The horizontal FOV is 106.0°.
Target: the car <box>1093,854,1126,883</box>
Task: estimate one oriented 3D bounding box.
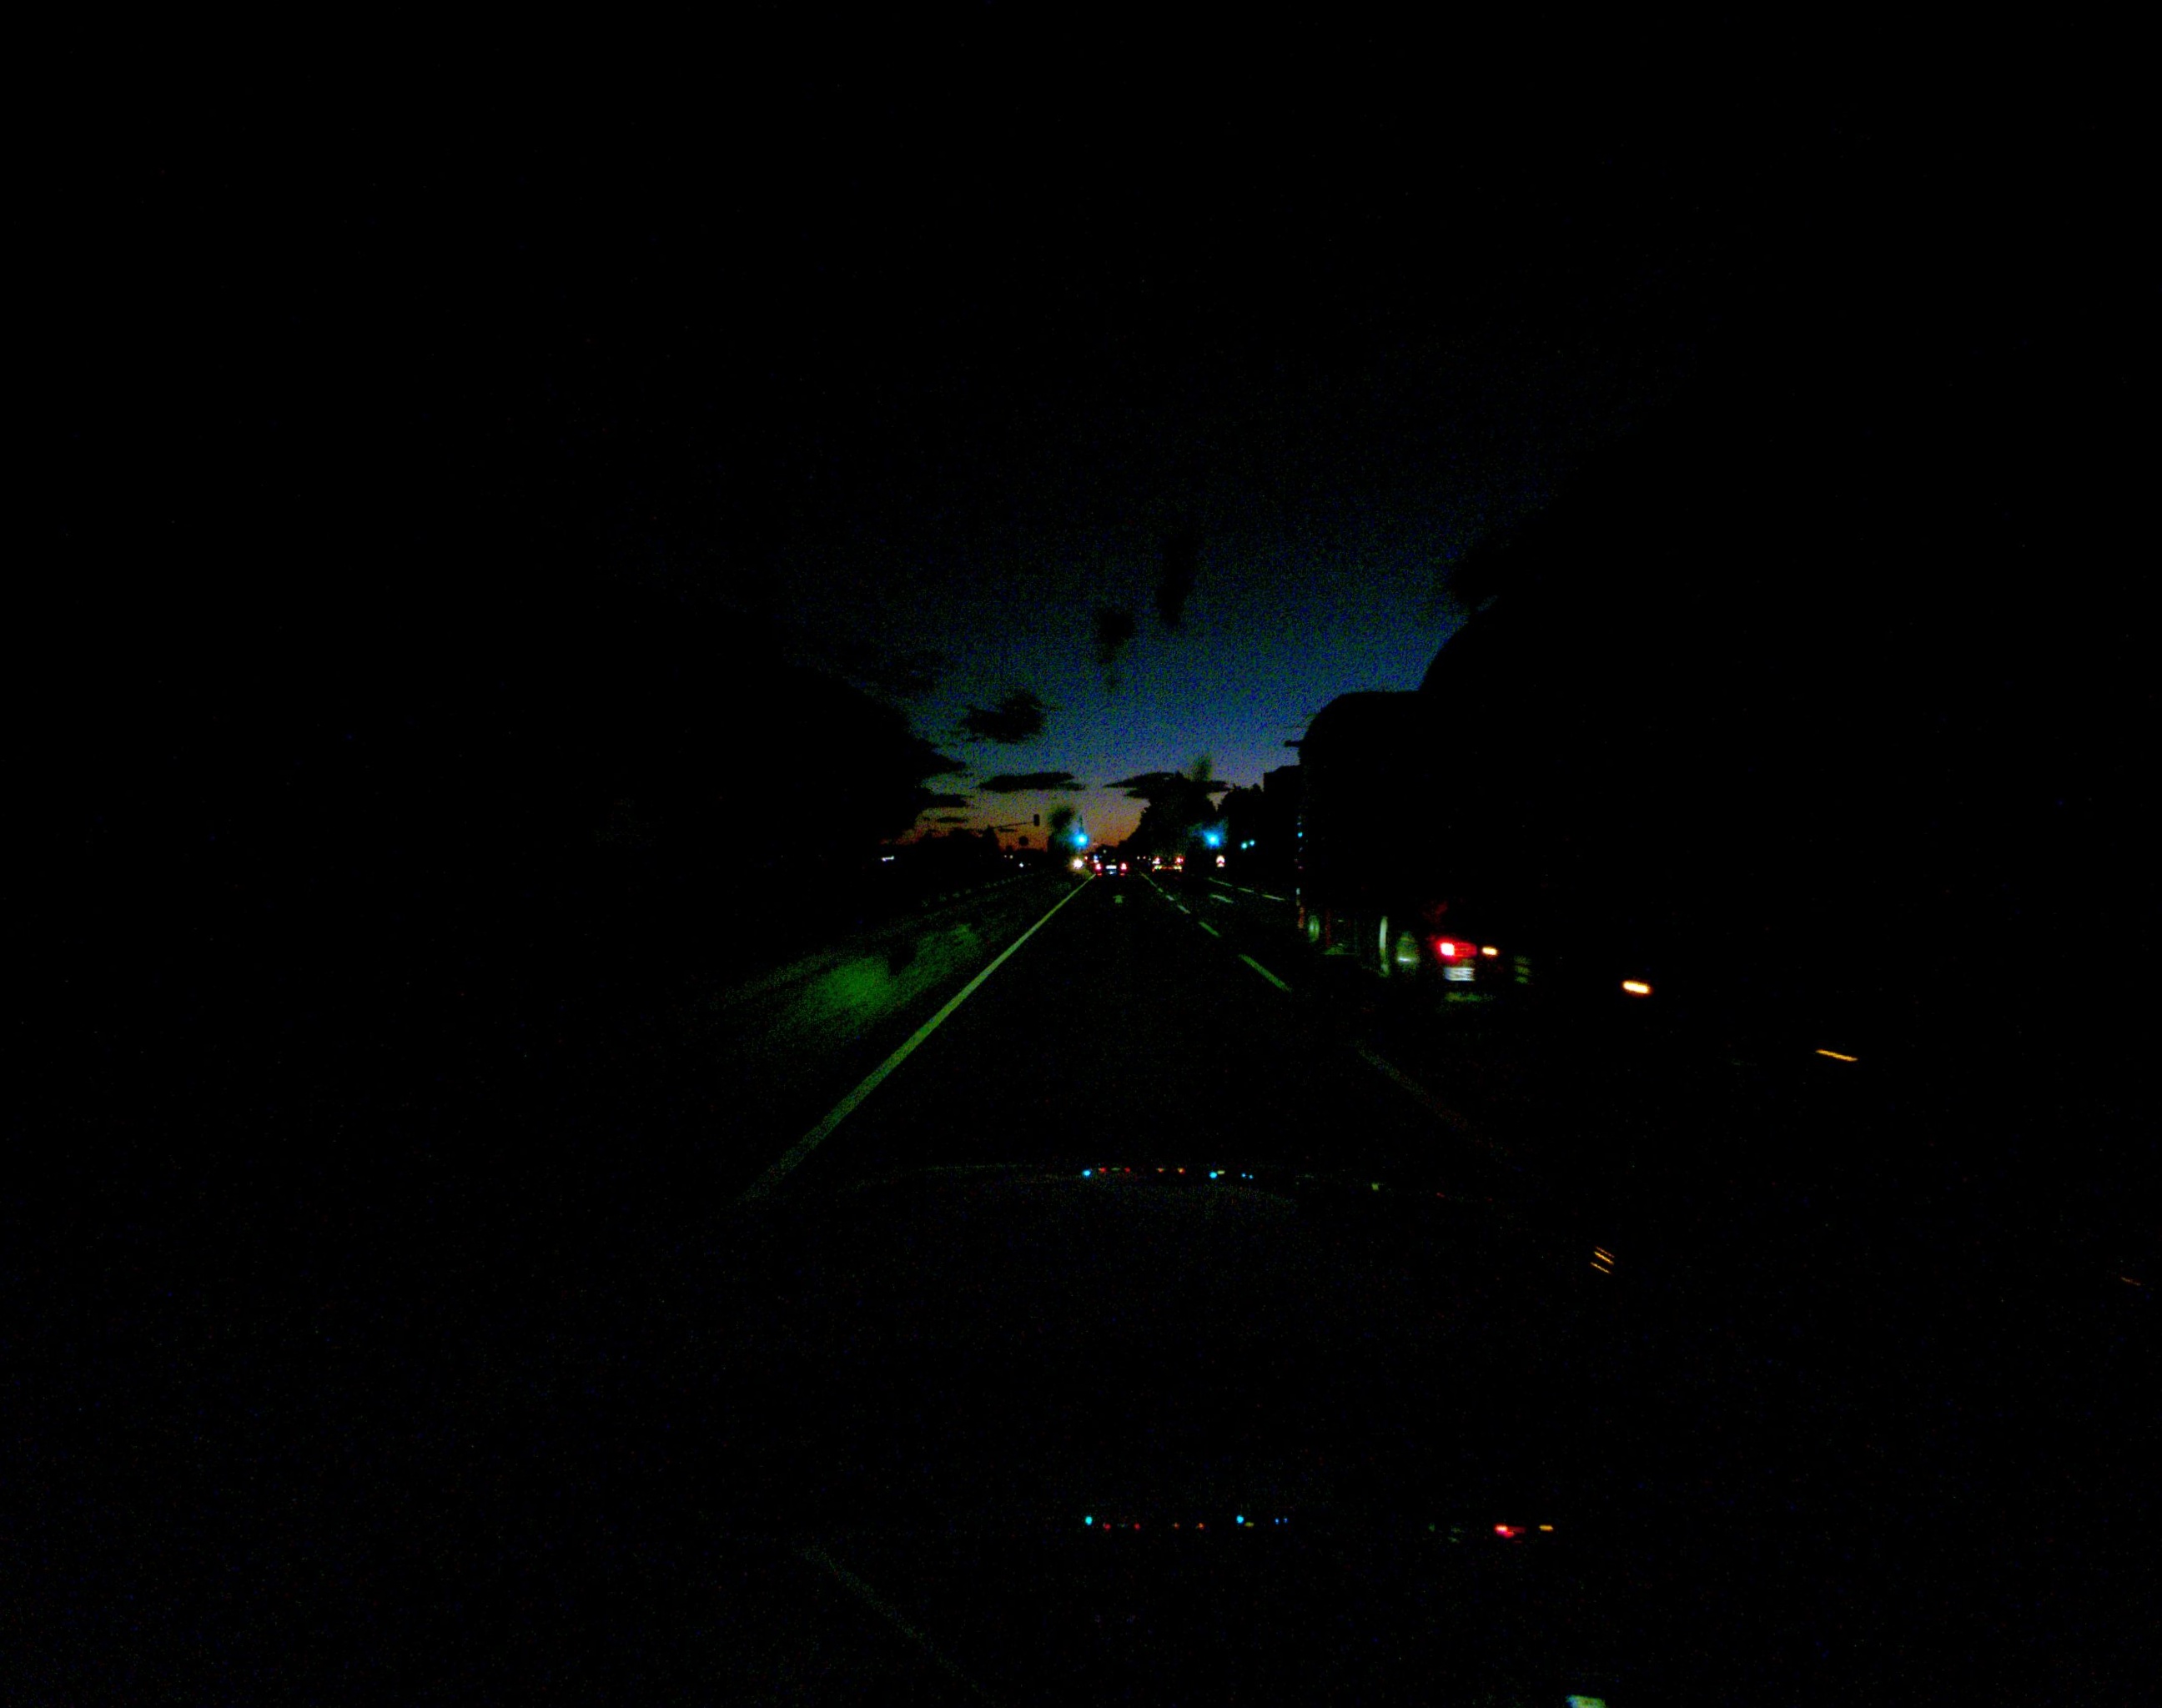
[{"bbox_3d":[1.546,0.761,44.377,1.689,1.452,3.915,-1,0,1],"label":"car"}]

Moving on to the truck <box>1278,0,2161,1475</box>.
[{"bbox_3d":[4.160,-0.577,6.479,2.676,4.106,13.152,-1,0,3],"label":"truck"}]

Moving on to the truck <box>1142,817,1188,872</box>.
[{"bbox_3d":[6.810,-0.735,67.975,2.872,4.106,12.687,-1,0,2],"label":"truck"}]

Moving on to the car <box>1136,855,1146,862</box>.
[{"bbox_3d":[12.023,0.890,163.687,1.689,1.452,3.915,-1,0,1],"label":"car"}]

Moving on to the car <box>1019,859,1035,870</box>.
[{"bbox_3d":[-7.065,1.386,106.594,1.599,1.330,3.941,-3,0,1],"label":"car"}]
